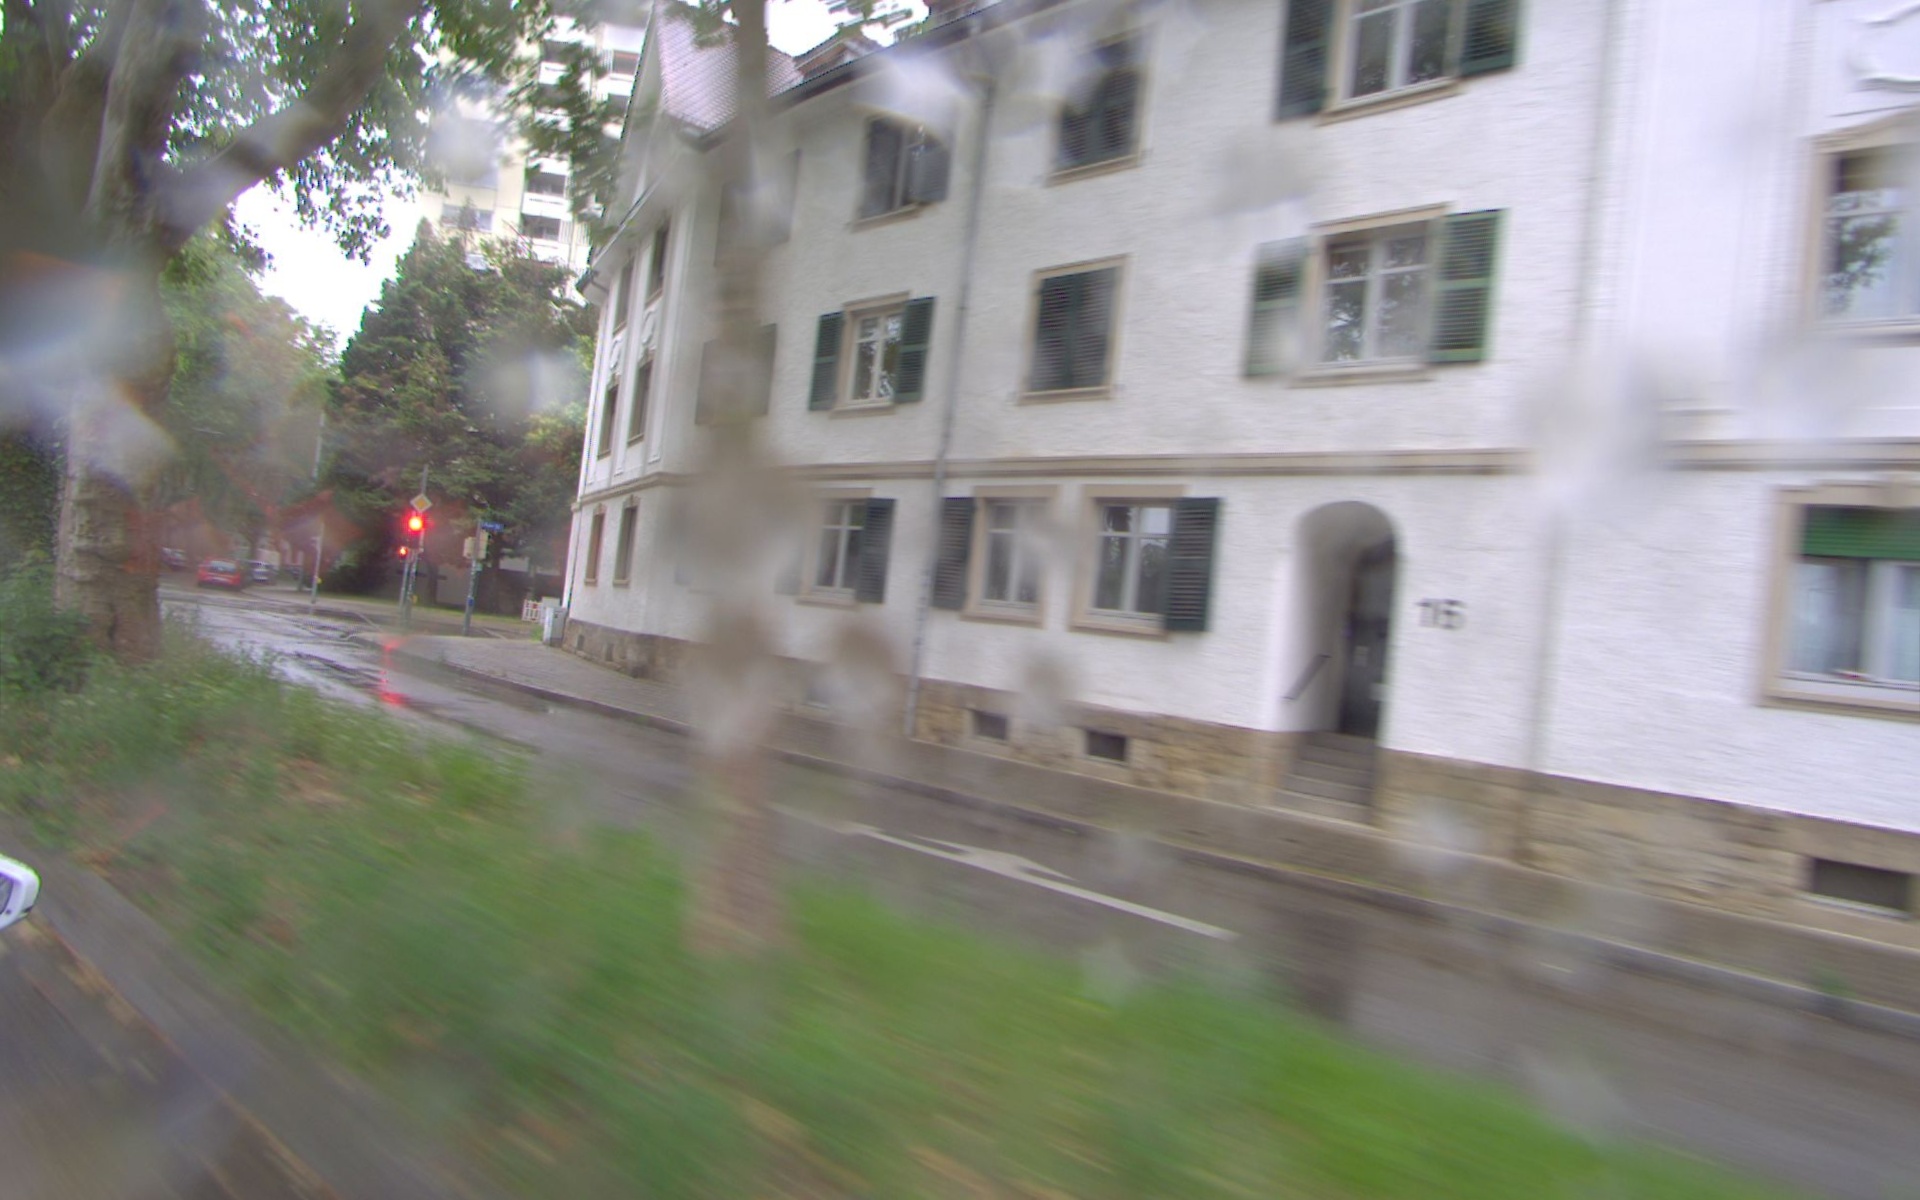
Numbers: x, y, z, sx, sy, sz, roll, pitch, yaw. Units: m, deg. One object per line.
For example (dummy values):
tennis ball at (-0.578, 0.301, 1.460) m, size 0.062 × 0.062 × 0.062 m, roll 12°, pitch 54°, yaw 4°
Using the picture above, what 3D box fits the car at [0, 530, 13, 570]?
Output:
car at (-39.867, -2.169, 39.660) m, size 3.462 × 1.541 × 1.504 m, roll 7°, pitch -1°, yaw -39°

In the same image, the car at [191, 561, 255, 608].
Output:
car at (-35.797, -0.783, 48.970) m, size 1.979 × 2.038 × 3.969 m, roll 6°, pitch -1°, yaw -31°

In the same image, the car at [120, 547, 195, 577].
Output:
car at (-55.754, -2.638, 69.947) m, size 3.565 × 1.637 × 1.675 m, roll 6°, pitch -1°, yaw -19°
